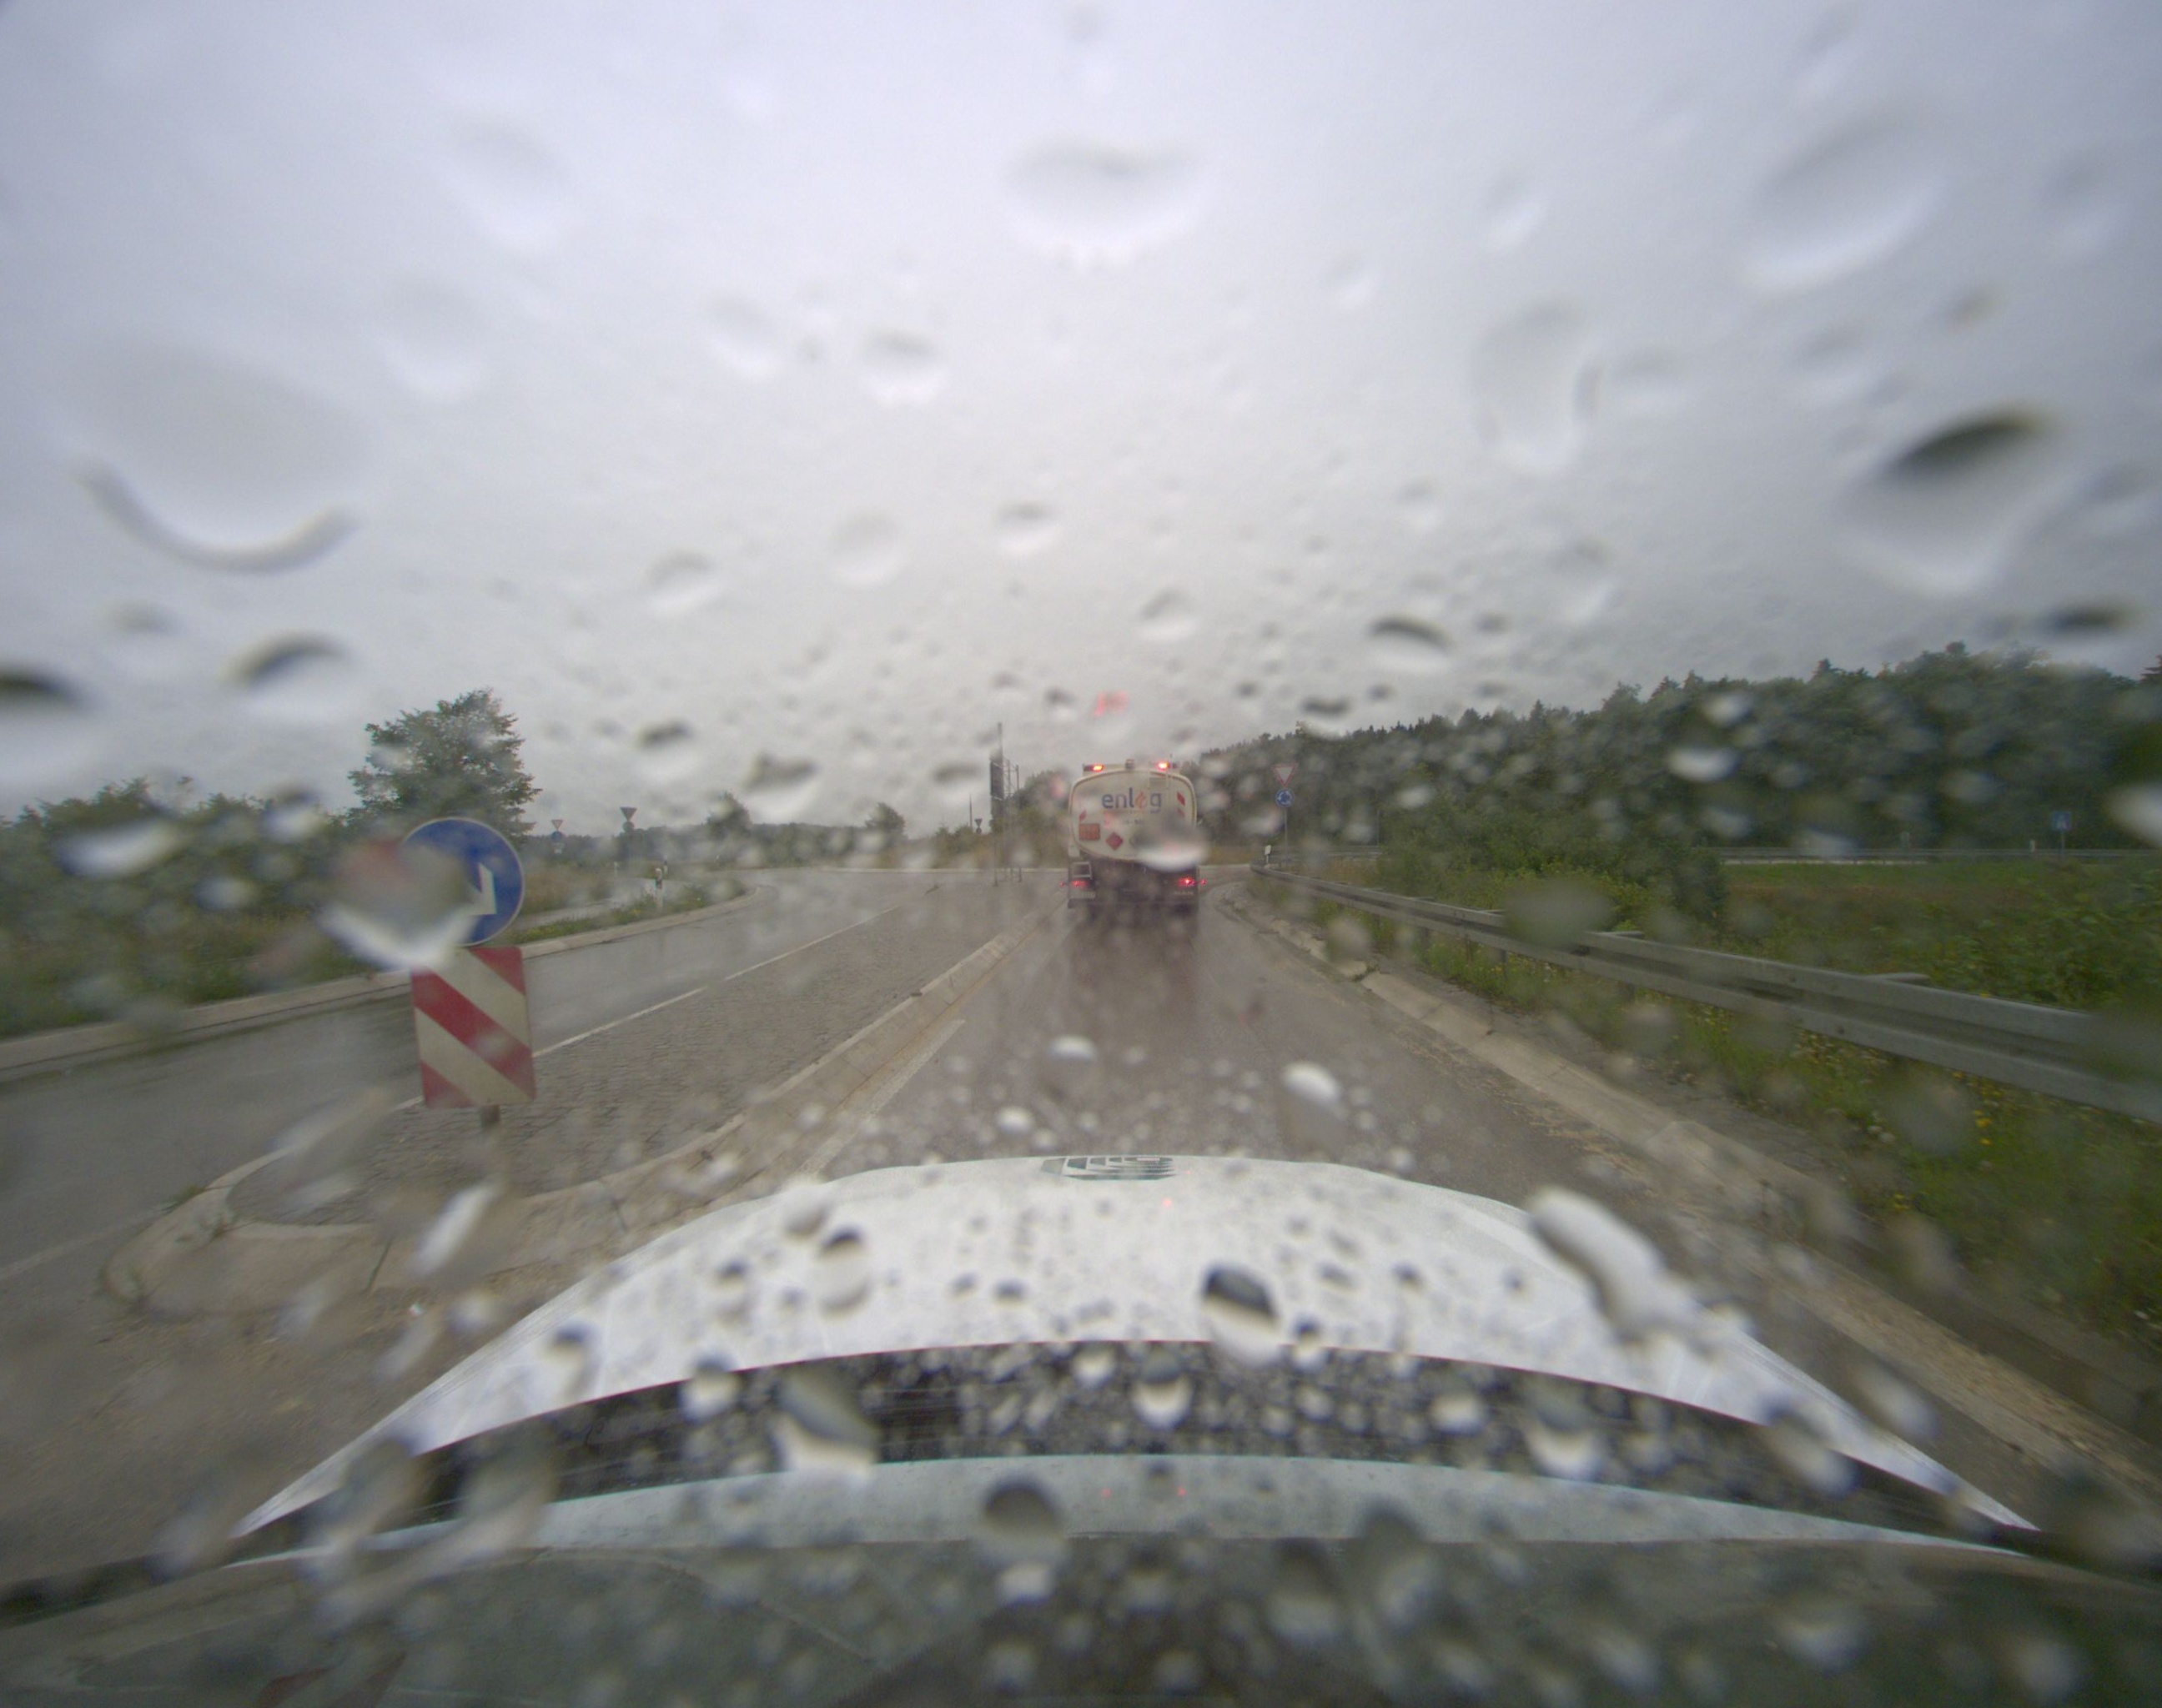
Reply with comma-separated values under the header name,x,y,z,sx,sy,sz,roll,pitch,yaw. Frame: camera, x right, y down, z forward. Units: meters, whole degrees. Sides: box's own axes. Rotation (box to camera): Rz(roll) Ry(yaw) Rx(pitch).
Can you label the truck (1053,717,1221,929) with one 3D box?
name,x,y,z,sx,sy,sz,roll,pitch,yaw
truck,1.498,-0.607,19.291,3.024,3.851,8.838,-1,1,6
